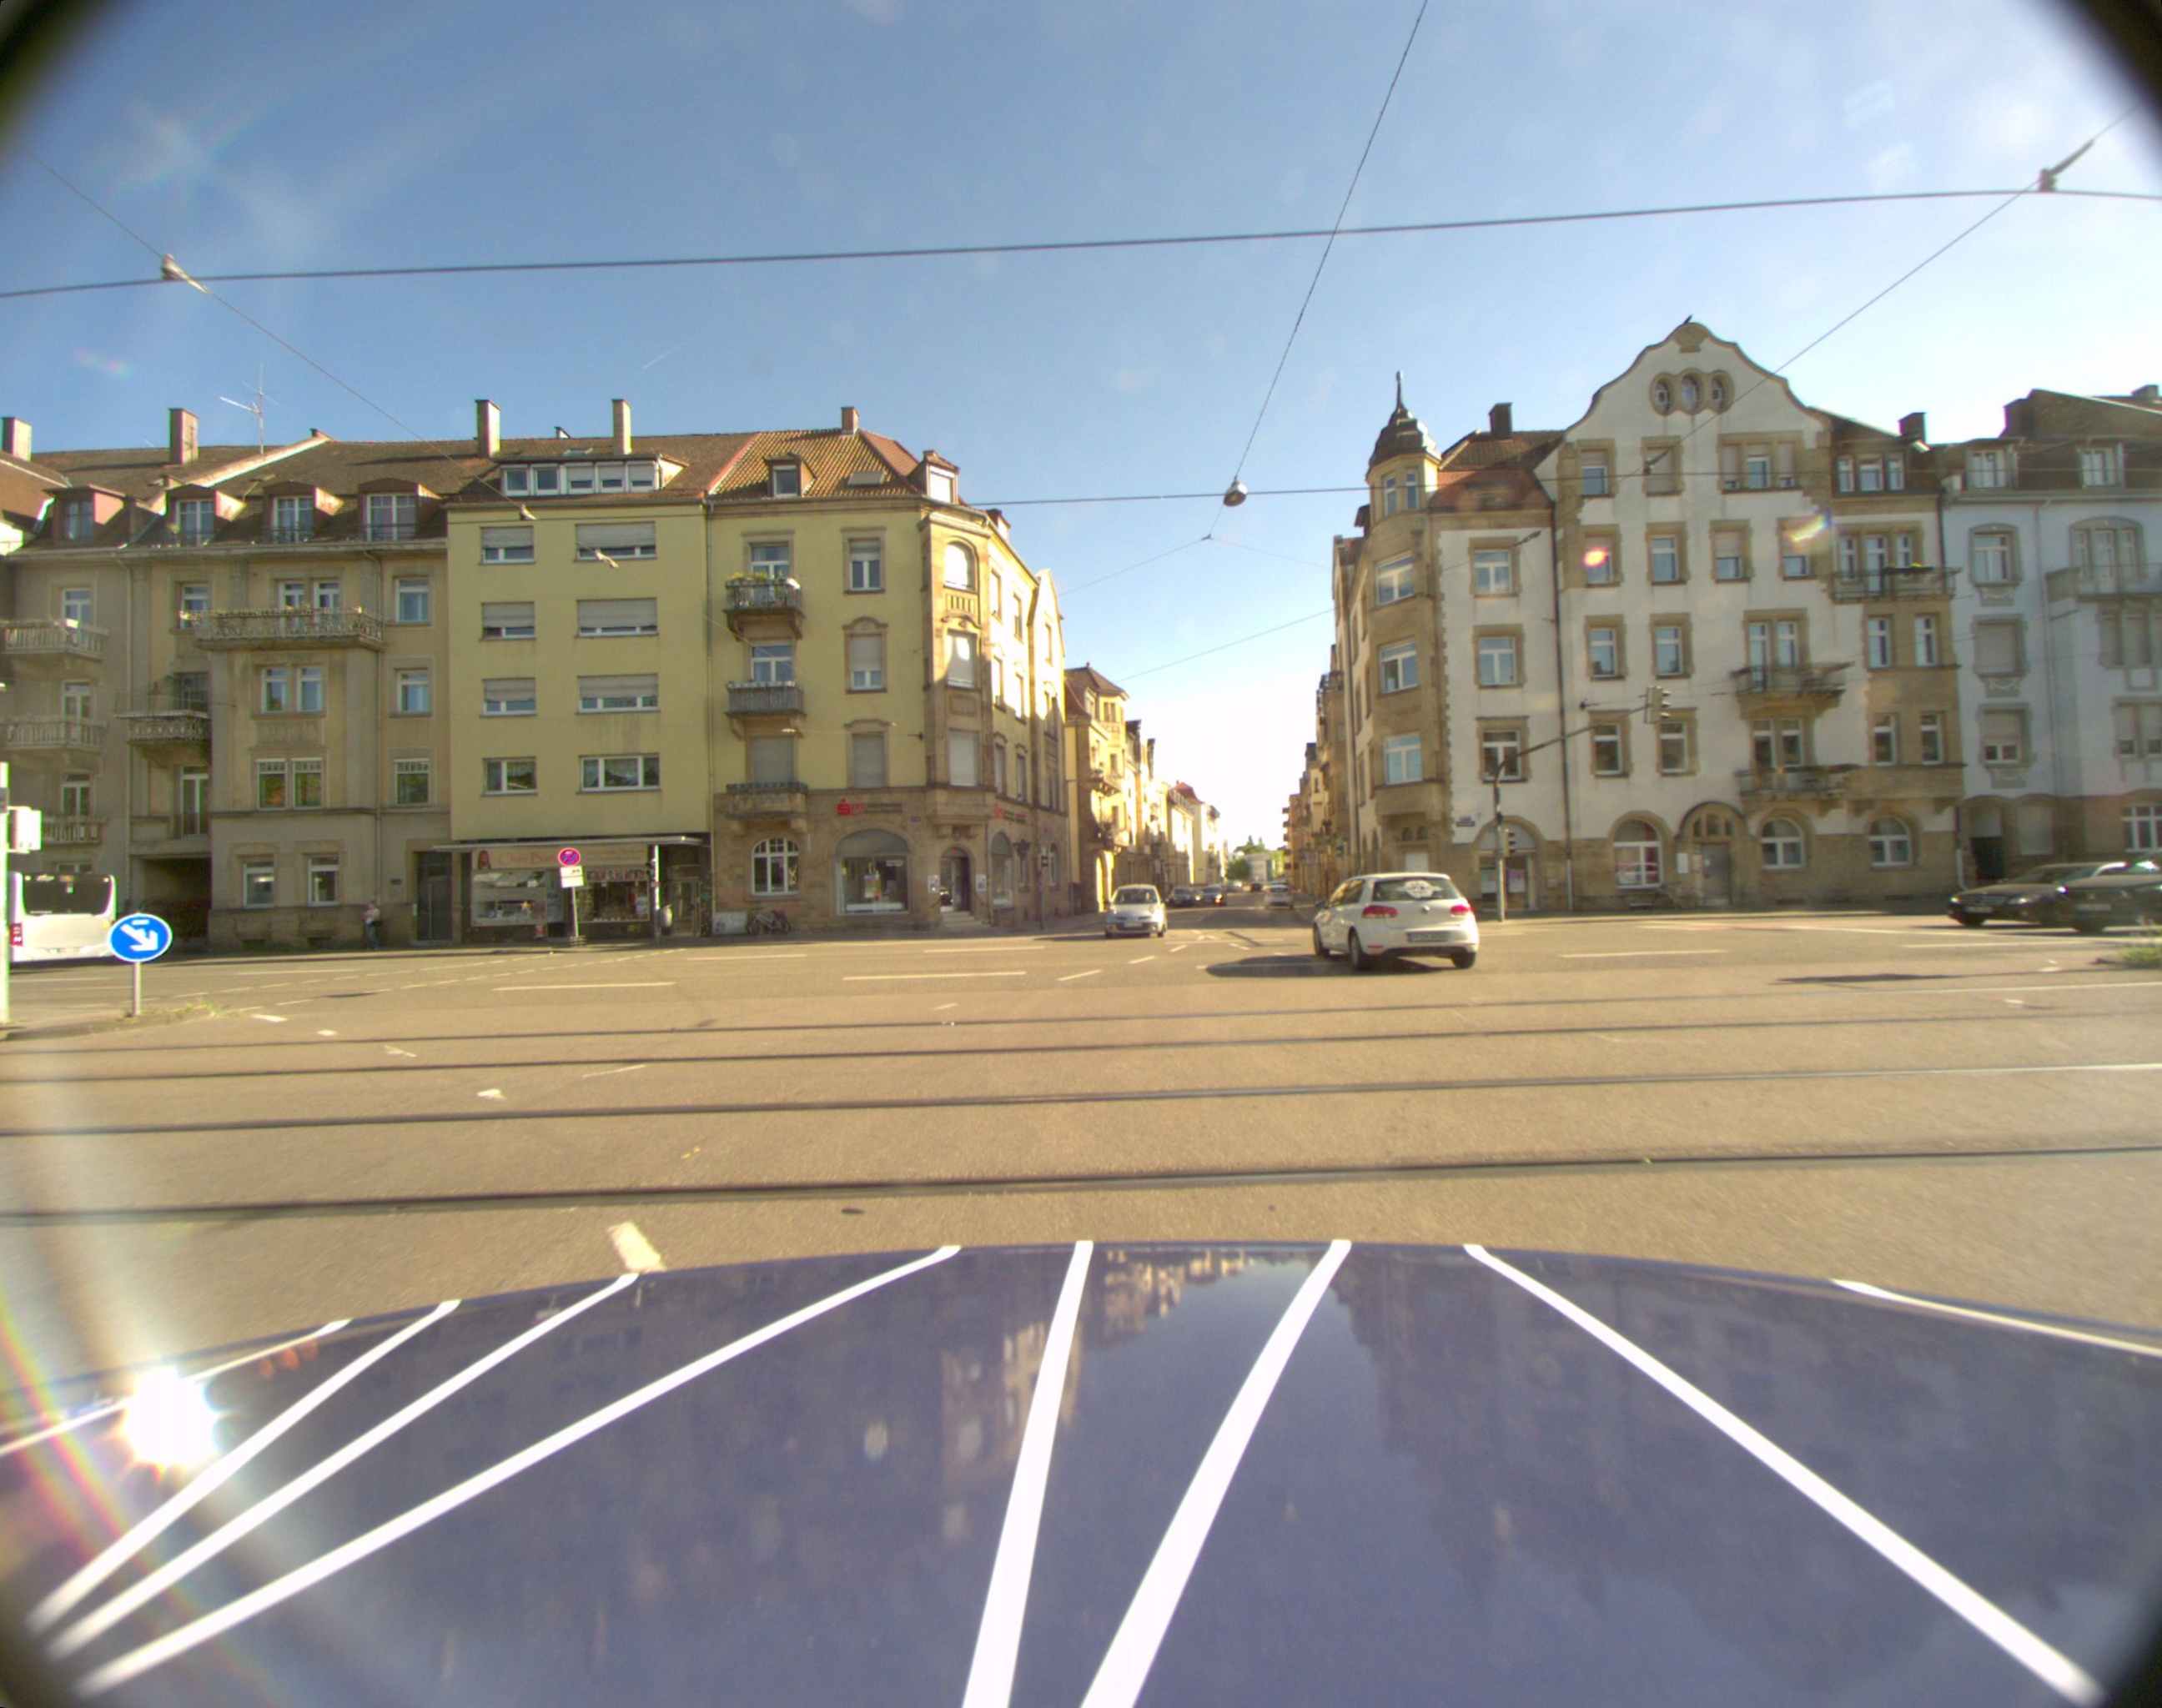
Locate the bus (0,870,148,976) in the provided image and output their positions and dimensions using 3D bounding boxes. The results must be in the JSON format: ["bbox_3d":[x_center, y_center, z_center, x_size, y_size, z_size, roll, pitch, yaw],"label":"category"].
[{"bbox_3d":[-35.869,2.204,22.927,10.680,3.014,3.133,-1,-3,-5],"label":"bus"}]

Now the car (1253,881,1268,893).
[{"bbox_3d":[26.964,4.966,113.971,1.915,1.717,4.353,-2,-2,16],"label":"car"}]

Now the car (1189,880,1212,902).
[{"bbox_3d":[12.177,3.742,77.217,1.831,2.021,3.825,-5,-3,14],"label":"car"}]

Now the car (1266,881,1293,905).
[{"bbox_3d":[16.068,3.149,61.396,1.915,1.648,4.352,-6,-3,15],"label":"car"}]

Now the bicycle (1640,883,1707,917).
[{"bbox_3d":[20.724,1.597,26.581,1.809,1.126,0.610,-2,-2,0],"label":"bicycle"}]

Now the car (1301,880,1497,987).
[{"bbox_3d":[5.035,1.203,12.675,1.810,1.449,4.003,-2,-2,4],"label":"car"}]

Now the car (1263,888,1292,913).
[{"bbox_3d":[12.079,2.823,46.591,1.554,1.403,3.577,0,-2,16],"label":"car"}]

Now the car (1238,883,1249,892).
[{"bbox_3d":[34.808,7.194,162.678,1.875,1.656,4.006,-4,-2,15],"label":"car"}]

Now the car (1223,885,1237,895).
[{"bbox_3d":[25.325,6.109,129.091,1.875,1.656,4.006,-4,-2,15],"label":"car"}]

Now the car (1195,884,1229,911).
[{"bbox_3d":[9.292,3.046,53.664,1.875,1.656,4.006,-4,-2,15],"label":"car"}]

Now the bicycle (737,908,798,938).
[{"bbox_3d":[-11.284,2.470,27.362,1.951,0.970,0.517,-2,1,1],"label":"bicycle"}]

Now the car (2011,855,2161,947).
[{"bbox_3d":[21.173,0.833,14.470,4.237,1.634,2.001,-2,-3,2],"label":"car"}]

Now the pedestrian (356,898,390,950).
[{"bbox_3d":[-25.211,2.490,27.057,0.521,1.792,0.709,-2,-2,4],"label":"pedestrian"}]

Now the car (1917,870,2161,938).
[{"bbox_3d":[22.185,1.119,17.442,3.893,1.380,1.767,-2,-2,2],"label":"car"}]

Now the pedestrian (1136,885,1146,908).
[{"bbox_3d":[4.601,3.275,58.222,0.577,1.711,0.698,-1,-1,15],"label":"pedestrian"}]

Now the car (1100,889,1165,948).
[{"bbox_3d":[1.618,1.859,22.755,1.650,1.558,3.620,-2,-2,8],"label":"car"}]

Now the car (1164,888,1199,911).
[{"bbox_3d":[7.686,3.460,57.626,1.996,1.527,4.006,-5,-3,15],"label":"car"}]

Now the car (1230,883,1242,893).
[{"bbox_3d":[28.567,6.252,139.924,1.875,1.656,4.006,-4,-2,15],"label":"car"}]
